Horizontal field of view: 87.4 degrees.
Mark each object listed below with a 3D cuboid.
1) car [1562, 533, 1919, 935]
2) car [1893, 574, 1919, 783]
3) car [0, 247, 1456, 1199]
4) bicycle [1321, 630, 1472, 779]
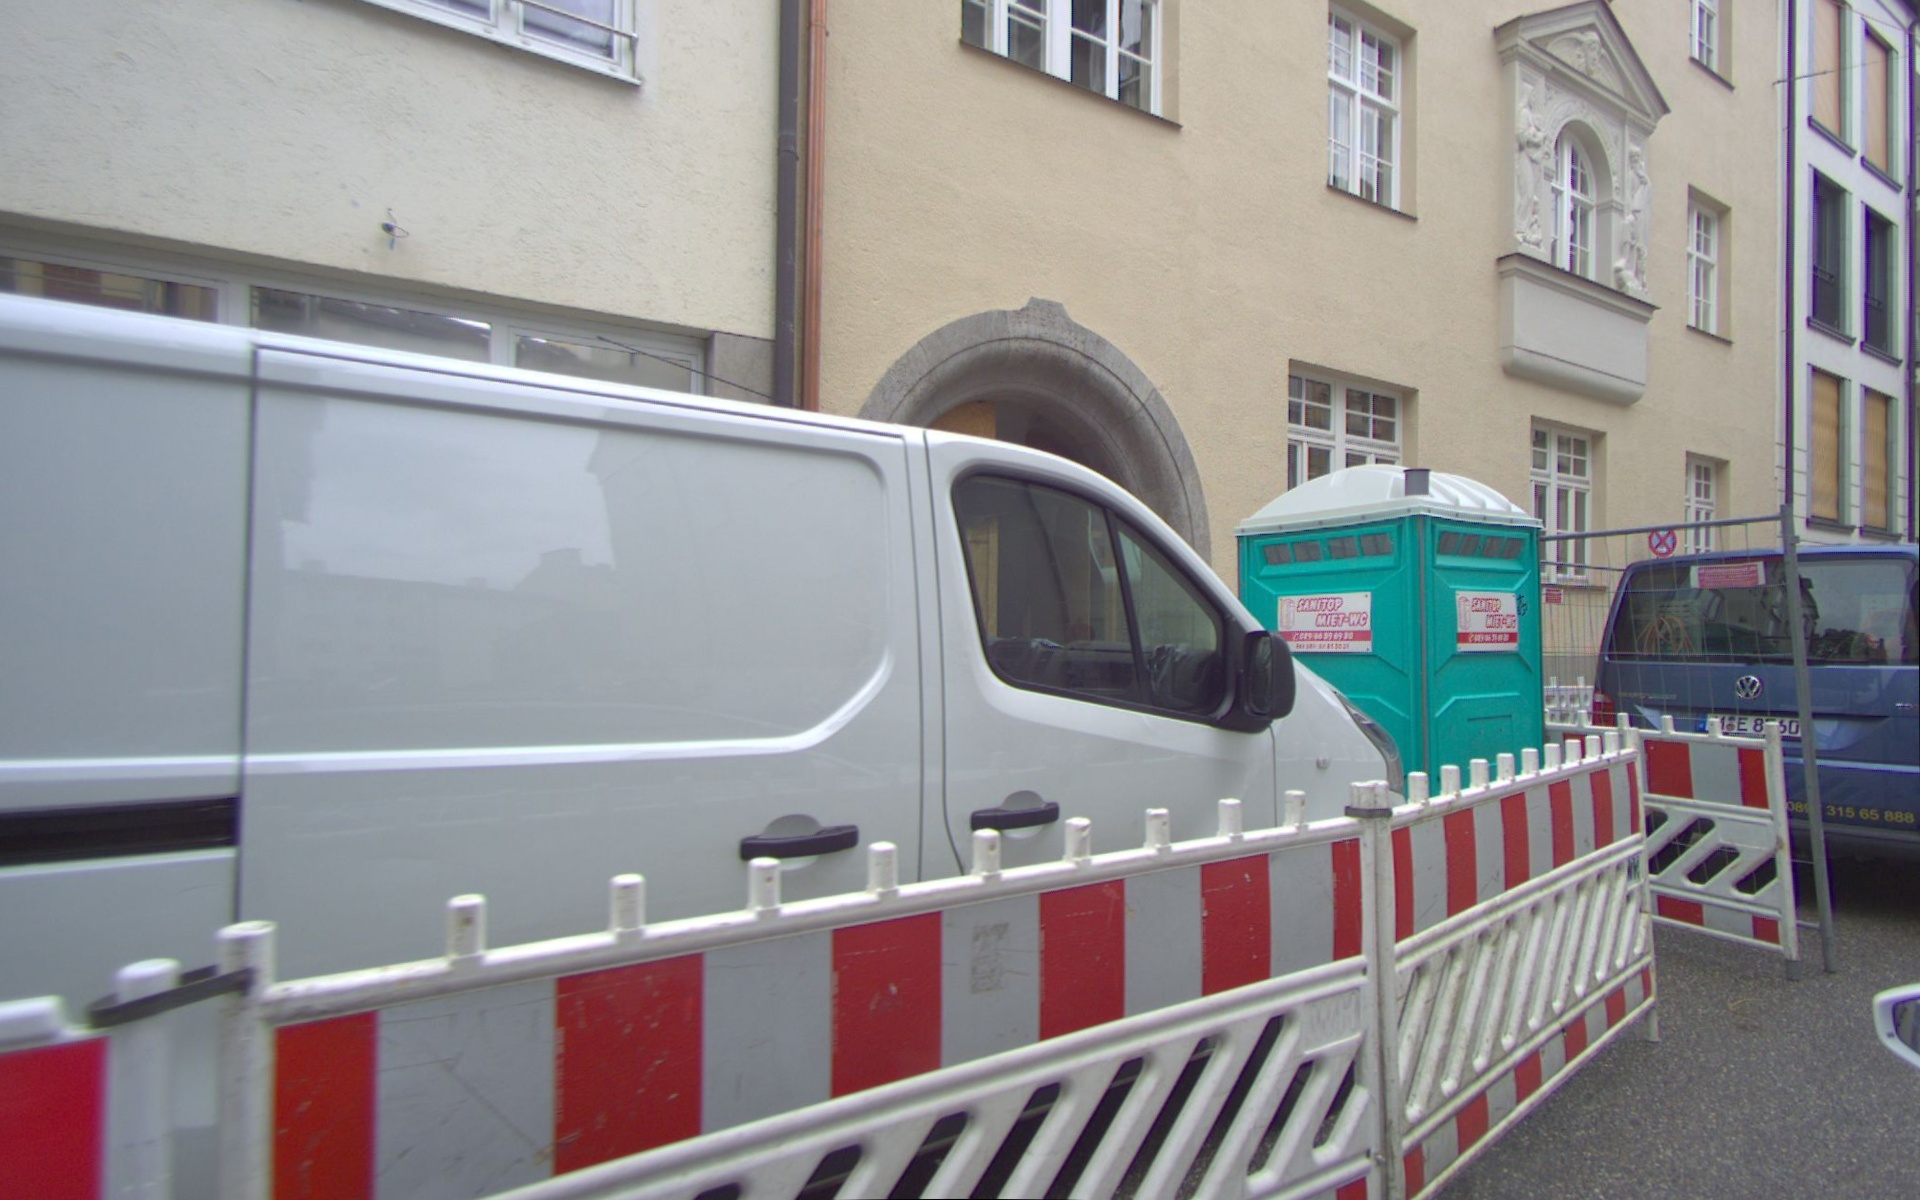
[{"bbox_3d":[6.463,0.732,6.961,5.450,1.922,1.717,2,-3,-33],"label":"car"},{"bbox_3d":[11.300,0.782,10.125,5.040,1.922,1.891,2,-1,-36],"label":"car"},{"bbox_3d":[-0.851,0.550,2.781,4.741,1.922,1.905,2,-3,-34],"label":"car"},{"bbox_3d":[4.070,0.903,9.274,2.118,1.204,0.378,0,1,-41],"label":"bicycle"}]
